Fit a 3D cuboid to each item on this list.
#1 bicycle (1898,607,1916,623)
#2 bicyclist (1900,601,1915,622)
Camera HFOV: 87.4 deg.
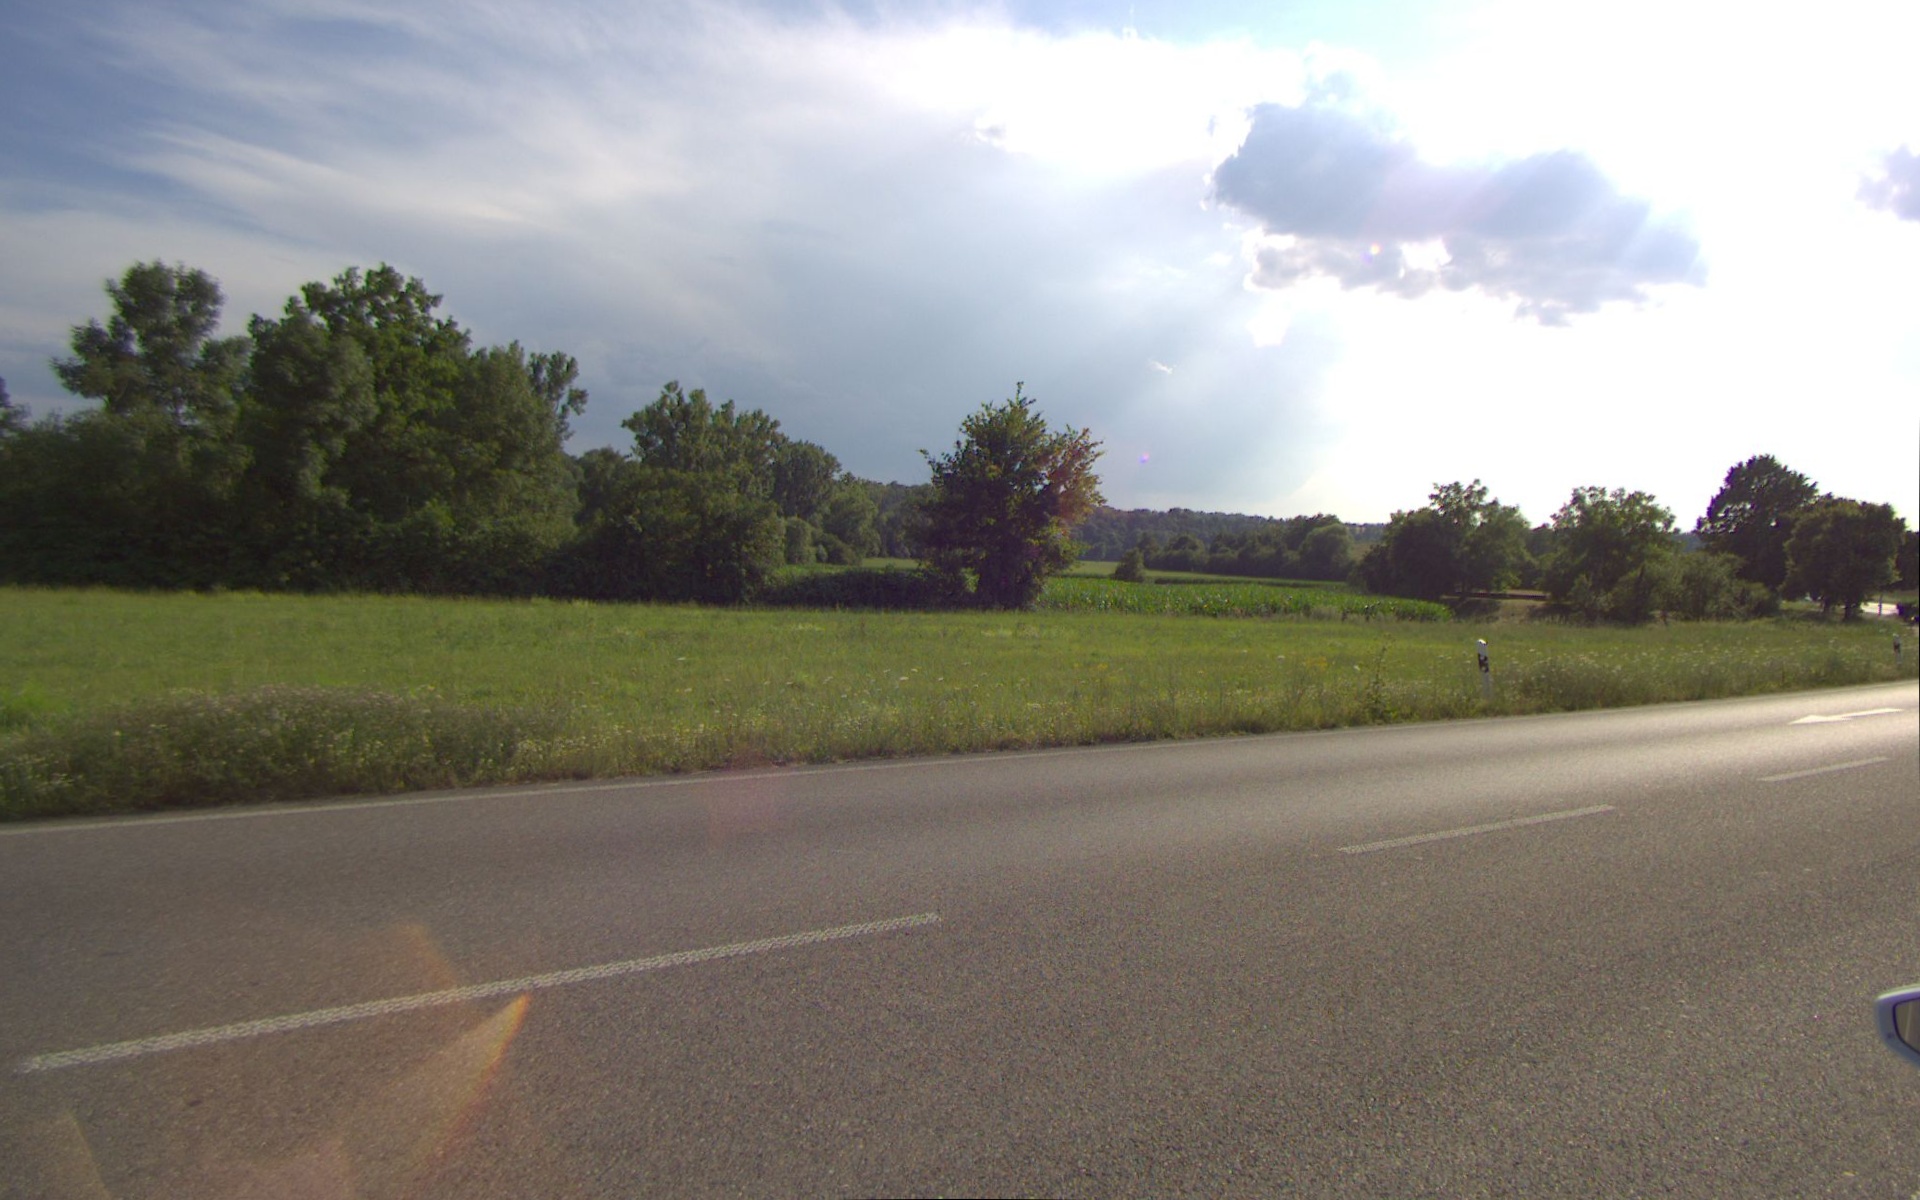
[{"bbox_3d":[66.791,1.069,70.857,1.656,1.089,0.630,1,2,-39],"label":"bicycle"},{"bbox_3d":[66.868,0.816,70.903,0.685,1.439,0.630,1,2,-38],"label":"bicyclist"}]
